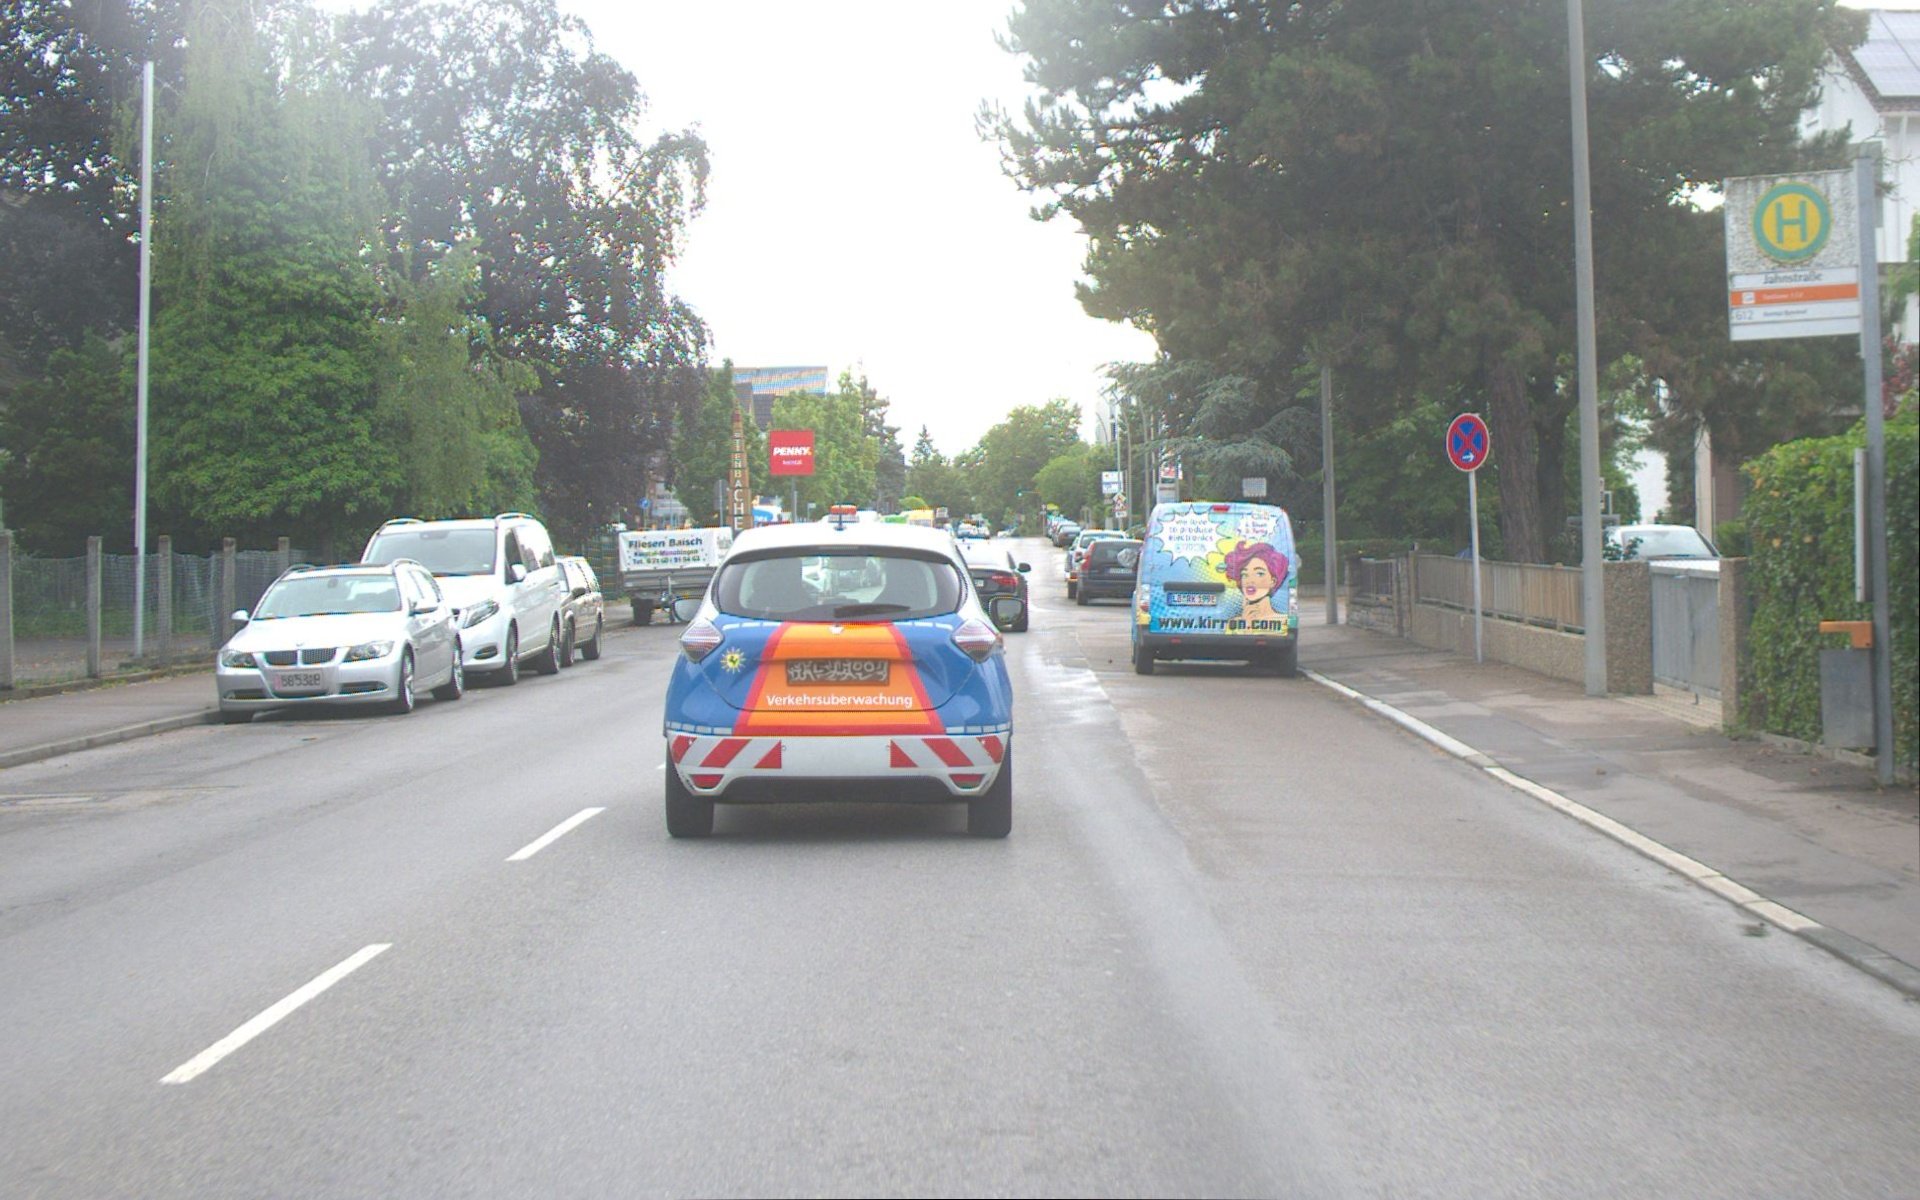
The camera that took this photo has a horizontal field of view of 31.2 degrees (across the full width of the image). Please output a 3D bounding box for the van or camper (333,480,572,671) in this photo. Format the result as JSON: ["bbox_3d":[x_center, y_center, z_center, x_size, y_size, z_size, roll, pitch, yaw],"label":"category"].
[{"bbox_3d":[-5.738,-0.225,39.490,1.890,2.007,5.097,1,-1,1],"label":"van or camper"}]

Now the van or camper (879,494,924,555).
[{"bbox_3d":[-2.731,-3.550,161.698,1.993,2.765,5.441,-1,1,0],"label":"van or camper"}]

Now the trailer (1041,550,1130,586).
[{"bbox_3d":[2.906,-0.754,80.101,1.938,0.751,2.859,-1,1,0],"label":"trailer"}]

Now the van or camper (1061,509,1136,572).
[{"bbox_3d":[4.015,-1.740,100.042,1.993,1.778,4.000,-1,1,0],"label":"van or camper"}]

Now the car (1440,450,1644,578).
[{"bbox_3d":[7.656,-1.104,45.553,1.993,1.481,4.000,1,-1,0],"label":"car"}]

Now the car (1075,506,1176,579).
[{"bbox_3d":[3.605,-1.275,75.361,1.993,1.531,4.000,-1,1,0],"label":"car"}]

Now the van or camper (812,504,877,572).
[{"bbox_3d":[-4.098,-2.210,122.490,2.161,2.345,4.334,-1,1,0],"label":"van or camper"}]

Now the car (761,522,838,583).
[{"bbox_3d":[-4.543,-1.332,97.723,1.993,1.590,4.000,1,-1,0],"label":"car"}]

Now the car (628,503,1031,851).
[{"bbox_3d":[-0.653,0.321,18.212,1.888,1.626,4.000,0,1,-1],"label":"car"}]

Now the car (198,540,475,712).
[{"bbox_3d":[-5.916,0.269,33.082,1.742,1.475,4.183,-2,-1,2],"label":"car"}]

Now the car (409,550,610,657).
[{"bbox_3d":[-5.865,0.015,45.194,1.993,1.284,4.000,-1,1,2],"label":"car"}]

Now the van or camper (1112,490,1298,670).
[{"bbox_3d":[2.658,-0.255,38.065,1.754,1.876,4.000,0,1,0],"label":"van or camper"}]

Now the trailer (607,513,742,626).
[{"bbox_3d":[-5.411,-0.547,65.689,2.220,2.007,4.436,1,-1,-1],"label":"trailer"}]
